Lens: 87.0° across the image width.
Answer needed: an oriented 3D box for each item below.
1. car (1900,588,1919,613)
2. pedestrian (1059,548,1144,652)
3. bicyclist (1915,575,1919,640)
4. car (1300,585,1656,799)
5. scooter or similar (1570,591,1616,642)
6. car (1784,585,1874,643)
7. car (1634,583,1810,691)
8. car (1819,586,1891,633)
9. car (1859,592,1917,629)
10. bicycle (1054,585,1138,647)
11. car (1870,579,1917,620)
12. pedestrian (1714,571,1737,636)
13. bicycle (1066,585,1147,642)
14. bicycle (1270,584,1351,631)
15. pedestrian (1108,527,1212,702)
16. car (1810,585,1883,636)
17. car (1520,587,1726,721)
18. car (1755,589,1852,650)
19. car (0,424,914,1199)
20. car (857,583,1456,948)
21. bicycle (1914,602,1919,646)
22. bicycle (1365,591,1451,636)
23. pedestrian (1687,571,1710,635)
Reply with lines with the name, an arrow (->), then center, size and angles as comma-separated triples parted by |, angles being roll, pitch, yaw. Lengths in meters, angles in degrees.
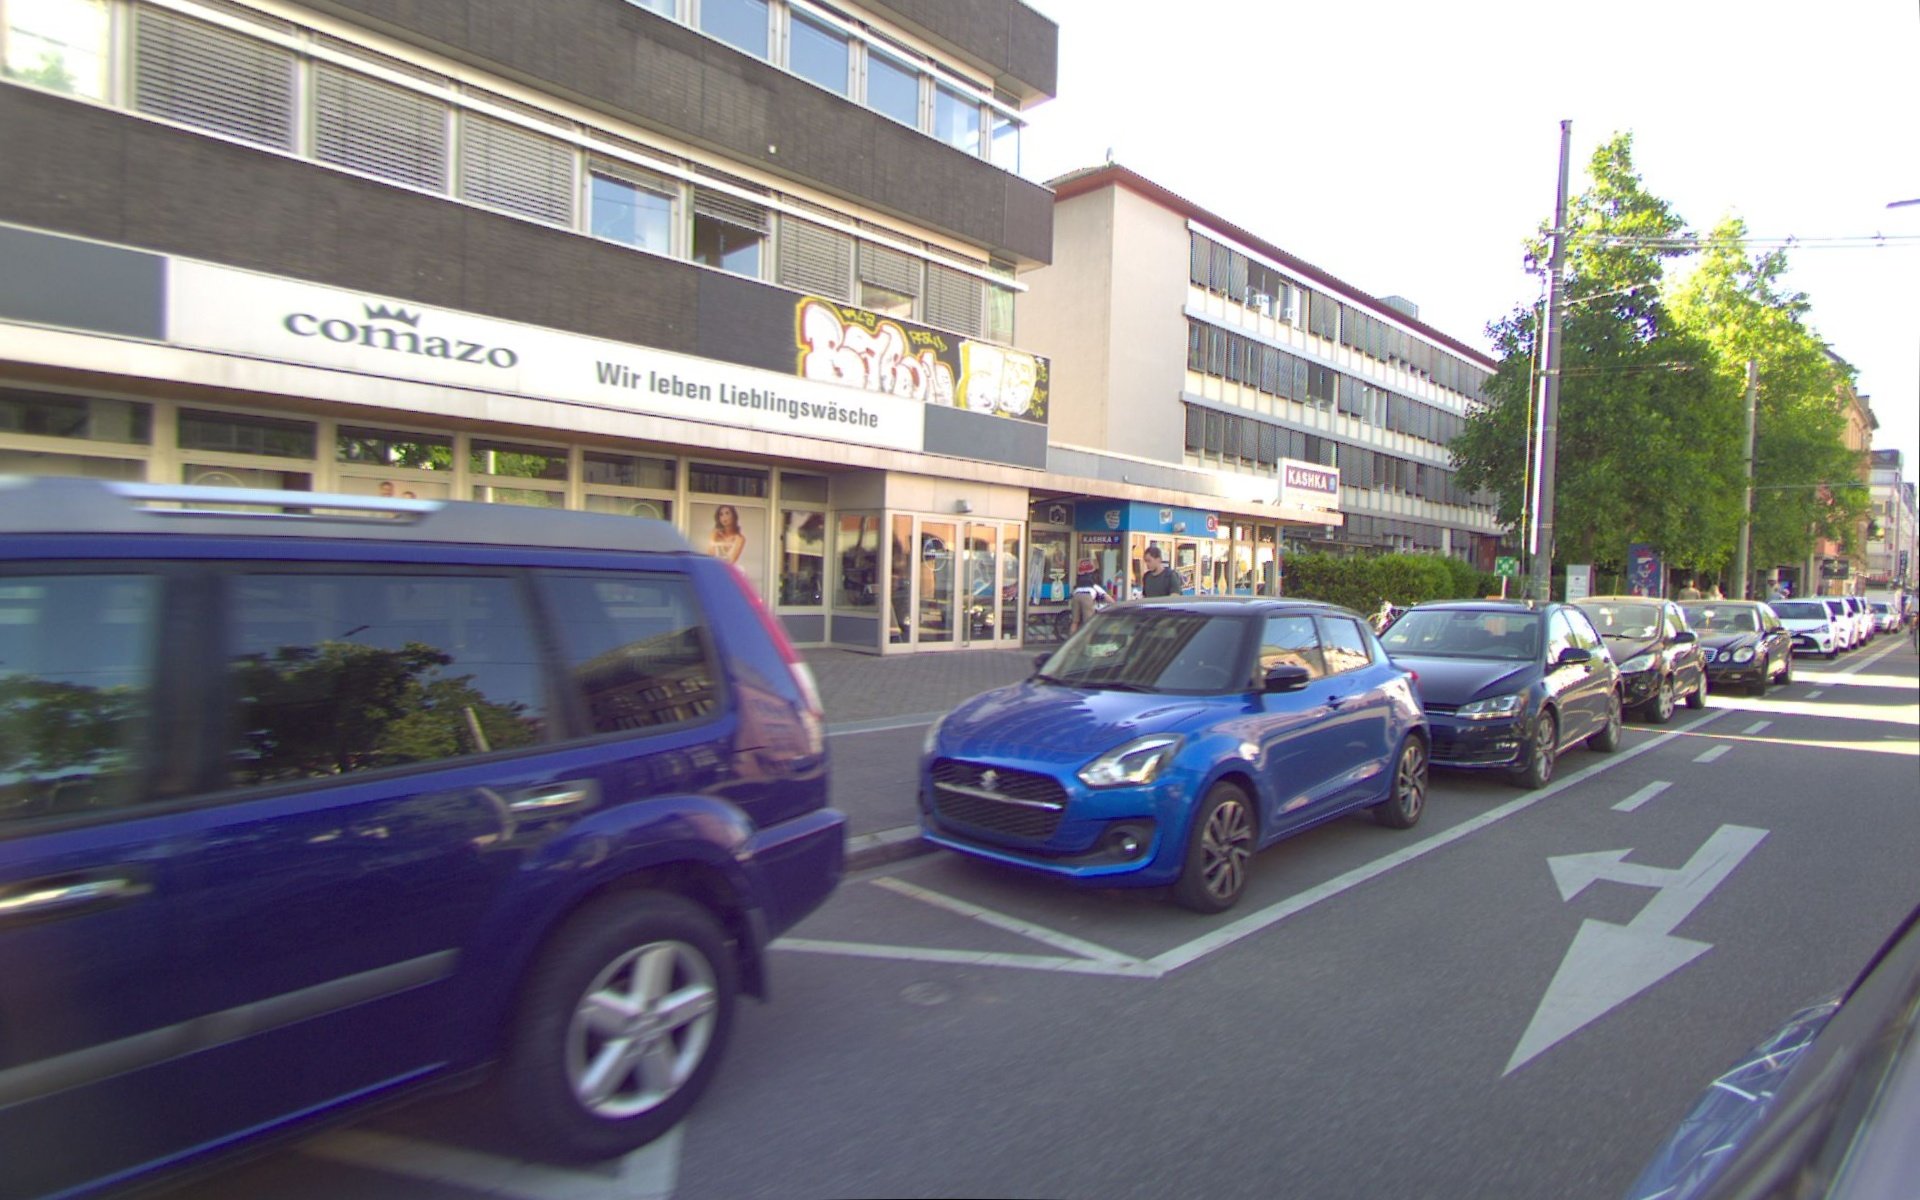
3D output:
car -> 62.830, 0.006, 66.271 | 4.049, 1.501, 1.730 | -2, 2, -45
pedestrian -> 2.438, -0.026, 17.472 | 0.901, 1.667, 1.012 | -1, 7, -43
bicyclist -> 27.457, 0.206, 28.419 | 1.013, 1.787, 0.894 | -1, 1, -44
car -> 4.892, 0.620, 9.260 | 4.158, 1.501, 1.699 | -1, 1, -45
scooter or similar -> 16.198, 0.396, 25.887 | 1.291, 1.224, 0.582 | 0, 6, -43
car -> 26.030, 0.351, 30.280 | 4.049, 1.597, 1.730 | -1, 1, -45
car -> 13.108, 0.507, 17.286 | 4.849, 1.501, 1.730 | -2, 2, -45
car -> 33.303, 0.310, 37.624 | 4.049, 1.570, 1.730 | -2, 2, -45
car -> 41.977, 0.451, 45.767 | 4.049, 1.501, 1.730 | -2, 2, -44
bicycle -> 2.407, 0.272, 18.045 | 0.334, 0.932, 1.573 | -1, 6, -44
car -> 51.280, -0.055, 55.592 | 4.049, 2.075, 1.730 | -2, 2, -45
pedestrian -> 24.435, 0.106, 32.284 | 0.565, 2.039, 0.507 | -1, 1, -44
bicycle -> 2.683, 0.234, 18.667 | 0.334, 0.933, 1.572 | -1, 4, -44
bicycle -> 8.686, 0.165, 25.160 | 0.563, 0.977, 1.805 | -1, 5, -43
pedestrian -> 2.333, 0.141, 11.784 | 1.045, 1.935, 0.685 | -1, 1, -41
car -> 29.977, 0.308, 34.186 | 1.728, 1.615, 4.052 | 0, 1, 43
car -> 8.748, 0.587, 13.248 | 3.500, 1.501, 1.572 | -1, 1, -45
car -> 22.424, 0.467, 26.851 | 1.729, 1.501, 3.803 | 0, 0, 44
car -> -2.225, 0.566, 2.270 | 1.687, 1.735, 4.551 | 0, 1, 39
car -> 1.371, 0.640, 6.003 | 3.716, 1.472, 1.715 | -1, 1, -45
bicycle -> 27.429, 0.665, 28.380 | 2.044, 1.176, 0.888 | -2, 1, -44
bicycle -> 10.652, 0.304, 24.100 | 1.810, 0.933, 0.400 | 6, 5, 44
pedestrian -> 23.997, 0.087, 32.877 | 0.565, 2.039, 0.507 | -1, 1, -44
